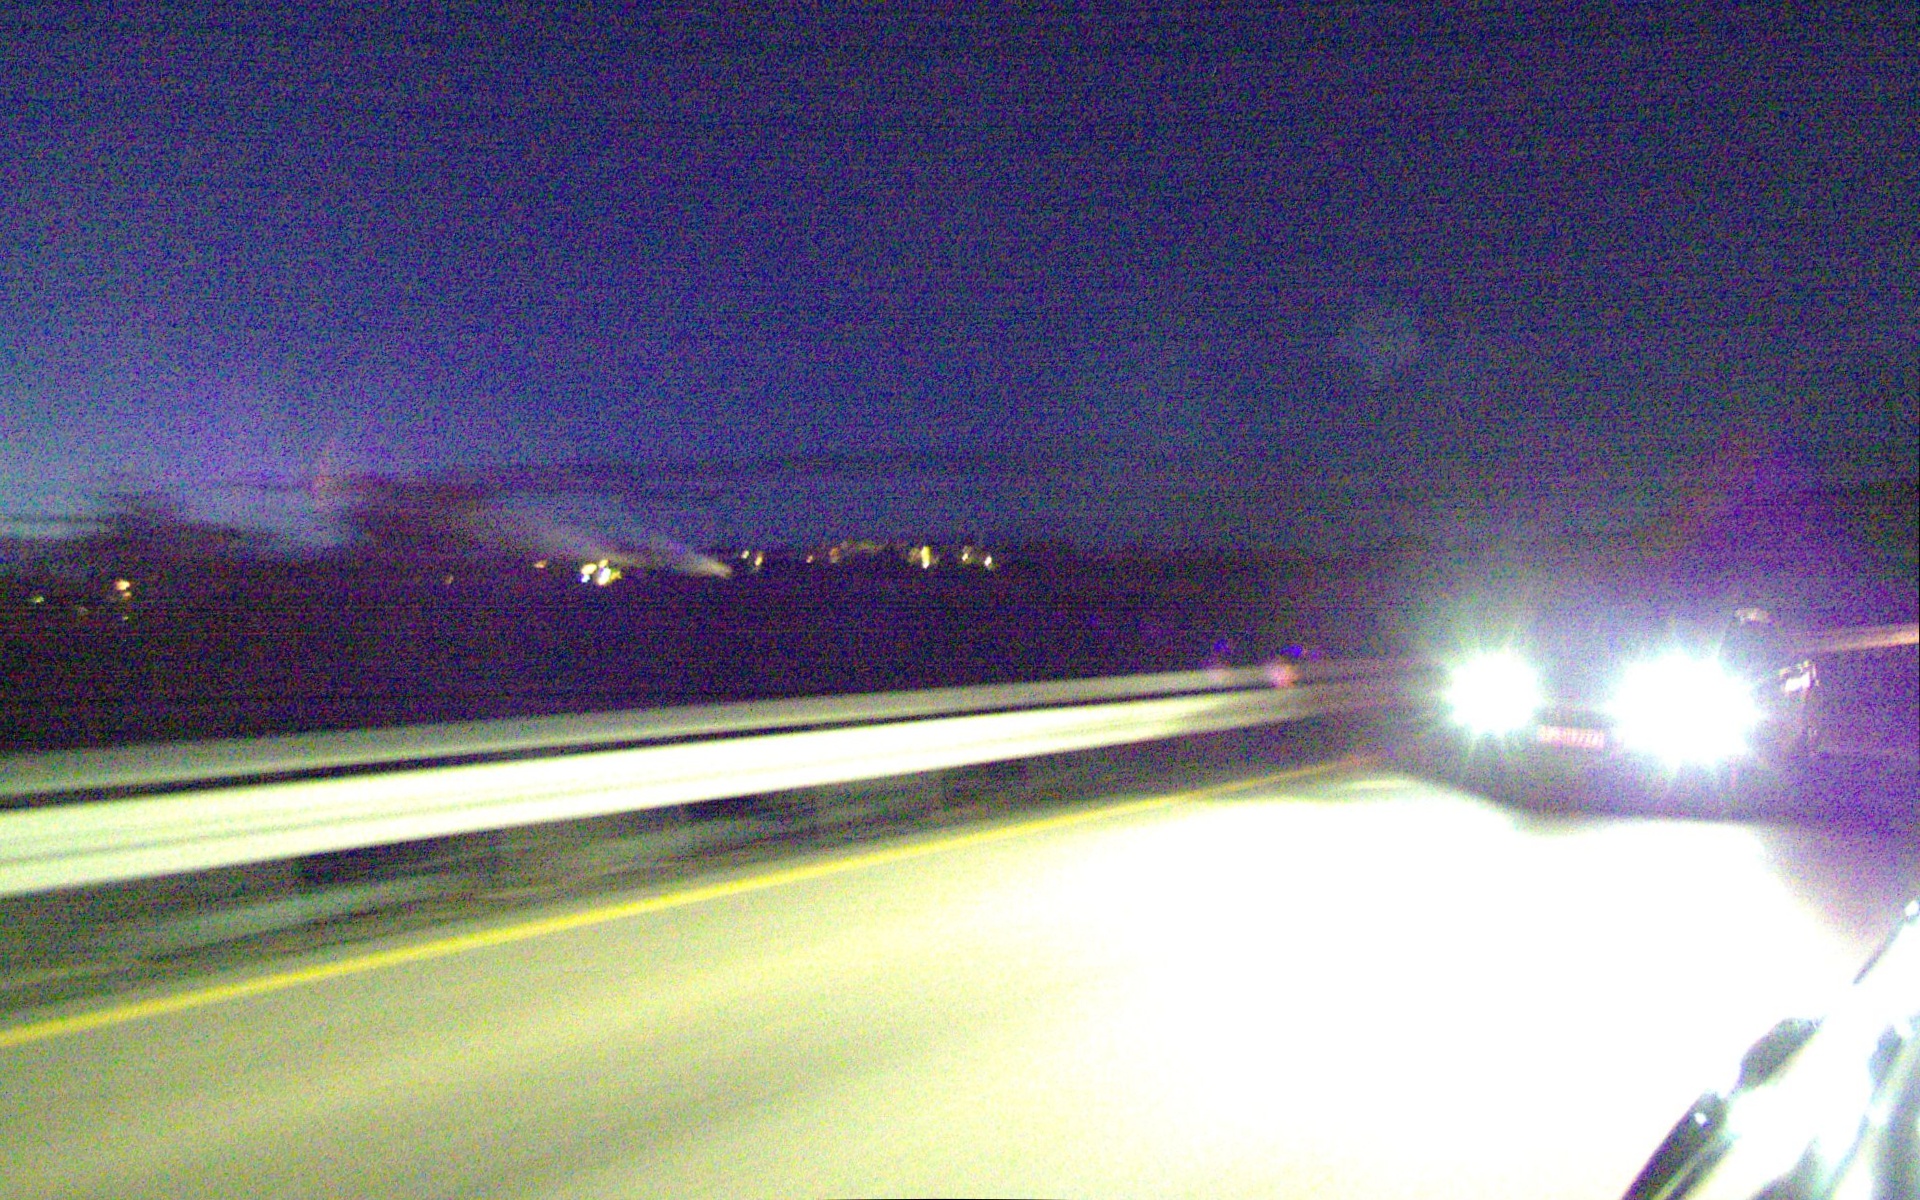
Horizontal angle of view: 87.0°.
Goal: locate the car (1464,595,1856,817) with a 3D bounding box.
[{"bbox_3d":[6.545,0.716,9.218,4.790,1.444,1.811,-1,1,-41],"label":"car"}]
